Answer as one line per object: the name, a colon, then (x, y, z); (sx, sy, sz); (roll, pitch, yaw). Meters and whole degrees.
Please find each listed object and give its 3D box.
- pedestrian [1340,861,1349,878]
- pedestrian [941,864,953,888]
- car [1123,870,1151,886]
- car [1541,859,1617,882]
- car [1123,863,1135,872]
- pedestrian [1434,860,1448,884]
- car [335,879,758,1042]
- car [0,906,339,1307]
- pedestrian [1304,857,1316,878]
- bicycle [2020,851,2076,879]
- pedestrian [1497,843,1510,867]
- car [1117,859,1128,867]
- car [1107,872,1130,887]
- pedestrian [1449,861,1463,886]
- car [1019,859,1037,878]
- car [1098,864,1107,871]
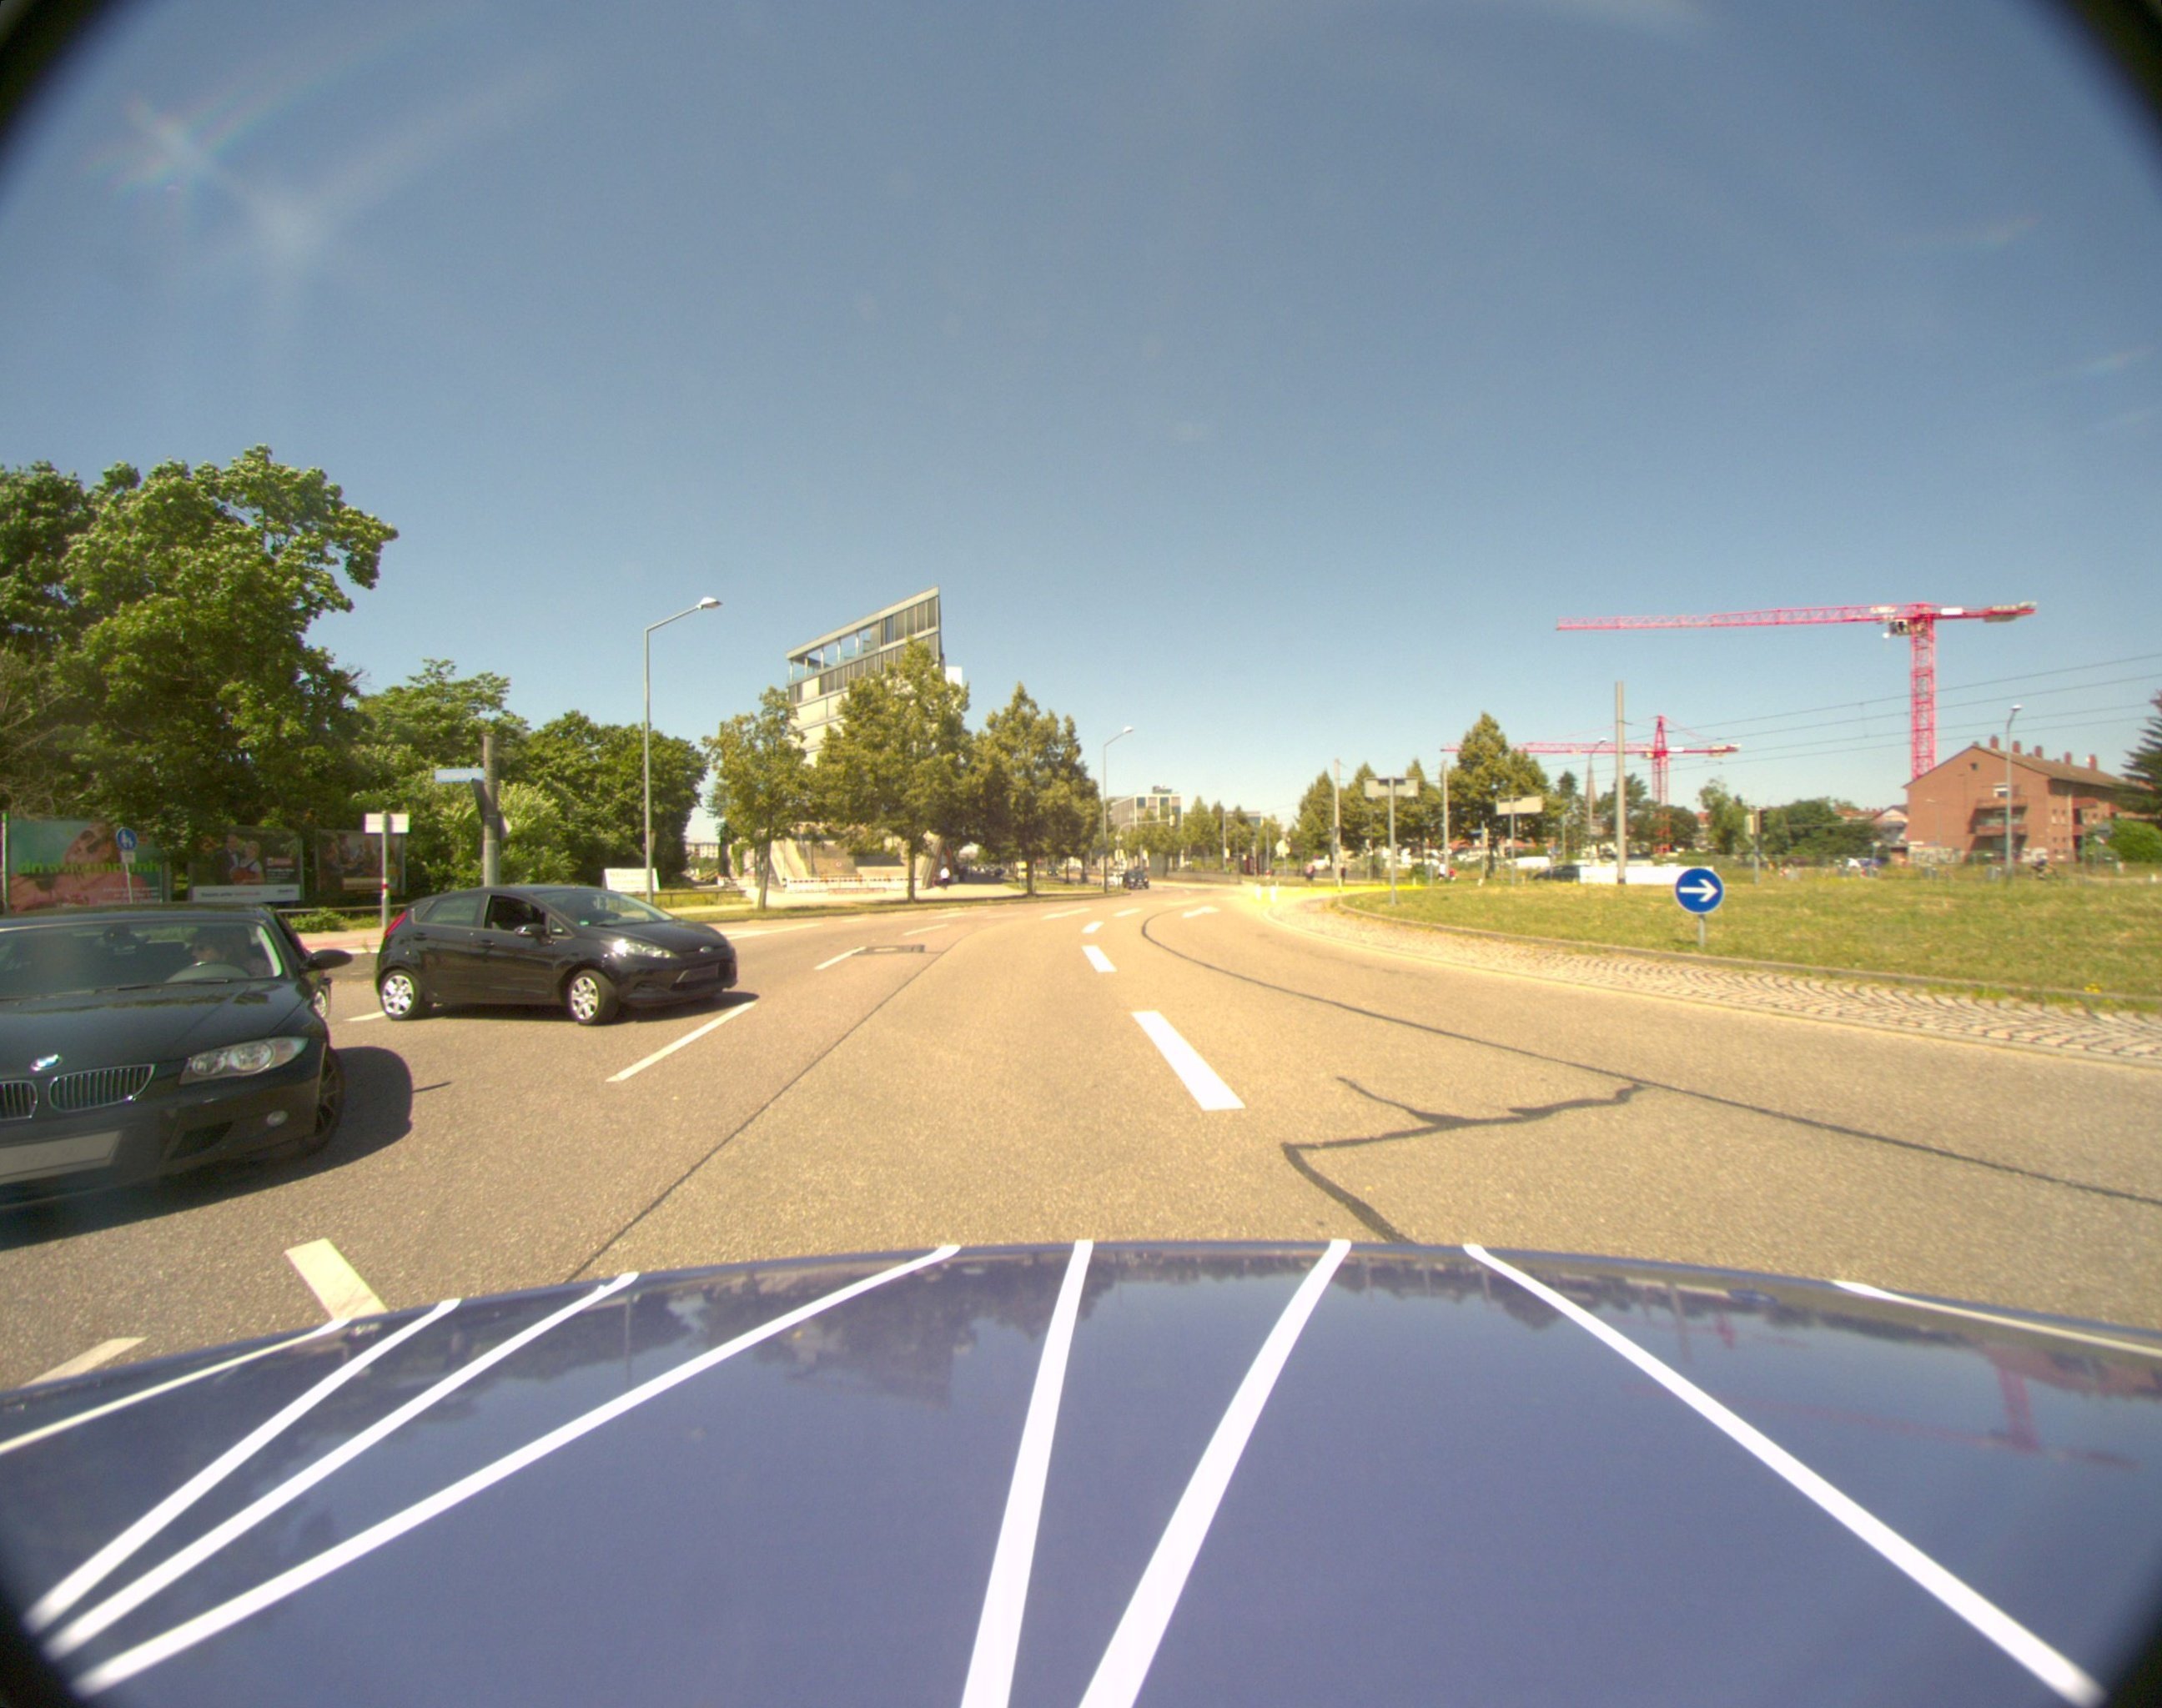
pedestrian: (21.674, 1.289, 62.494); (0.596, 1.398, 0.544); (-1, 0, 6)
pedestrian: (-10.583, 1.722, 60.090); (0.834, 1.858, 0.612); (0, 1, 4)
car: (4.681, 2.012, 63.879); (1.741, 1.205, 3.563); (0, 1, -7)
car: (34.537, 1.131, 52.731); (2.004, 1.456, 3.988); (-1, 1, -40)
car: (11.658, 3.170, 183.897); (2.000, 2.002, 3.897); (0, 1, -11)
pedestrian: (29.237, 1.456, 61.691); (0.814, 1.887, 0.732); (0, 1, 2)
car: (-5.791, 1.073, 8.394); (3.812, 1.499, 1.635); (-1, 0, 12)
car: (-5.757, 1.144, 4.472); (1.806, 1.432, 3.989); (-2, 0, -42)
pedestrian: (18.929, 1.109, 62.709); (0.760, 1.630, 0.781); (0, 1, 3)
bicycle: (60.292, 0.685, 47.408); (2.079, 1.675, 0.561); (1, 2, 44)
pedestrian: (34.521, 0.087, 62.087); (0.595, 2.002, 0.603); (0, 1, -10)
car: (10.534, 2.304, 194.047); (2.000, 2.002, 3.897); (0, 1, -11)
car: (3.454, 2.323, 69.939); (1.577, 1.218, 3.320); (0, 1, -7)
pedestrian: (30.397, 1.552, 61.550); (0.745, 2.002, 0.732); (0, 1, 2)
car: (-7.416, 2.016, 106.316); (2.001, 2.493, 3.996); (-1, -1, -12)
car: (6.318, 3.895, 220.378); (2.000, 2.002, 3.996); (0, 1, -8)
